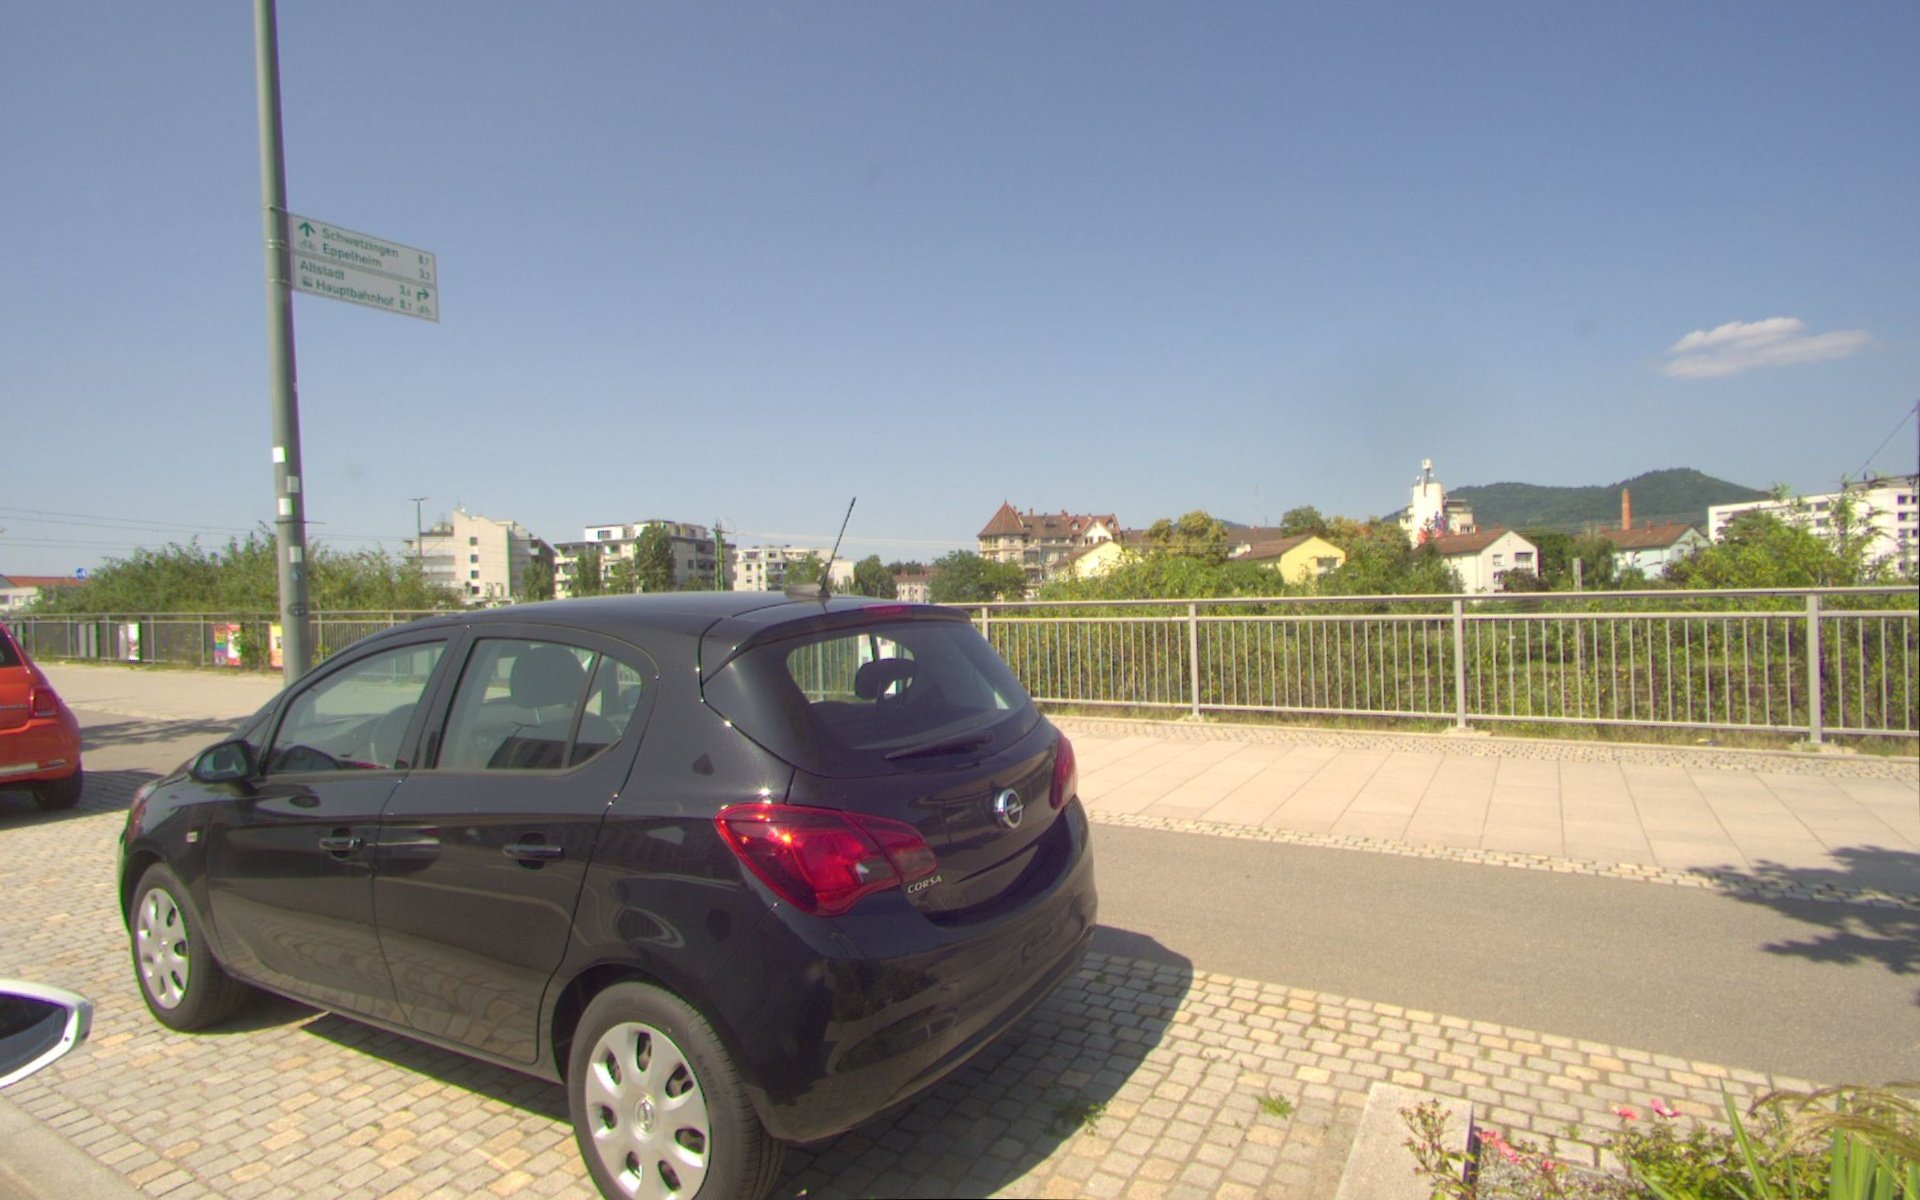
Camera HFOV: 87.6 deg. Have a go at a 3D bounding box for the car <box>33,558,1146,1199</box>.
[{"bbox_3d":[-1.505,0.679,3.593,3.942,1.445,1.657,-1,0,32],"label":"car"}]

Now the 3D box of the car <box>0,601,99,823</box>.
[{"bbox_3d":[-8.157,0.802,7.582,3.305,1.517,1.605,-1,2,34],"label":"car"}]
